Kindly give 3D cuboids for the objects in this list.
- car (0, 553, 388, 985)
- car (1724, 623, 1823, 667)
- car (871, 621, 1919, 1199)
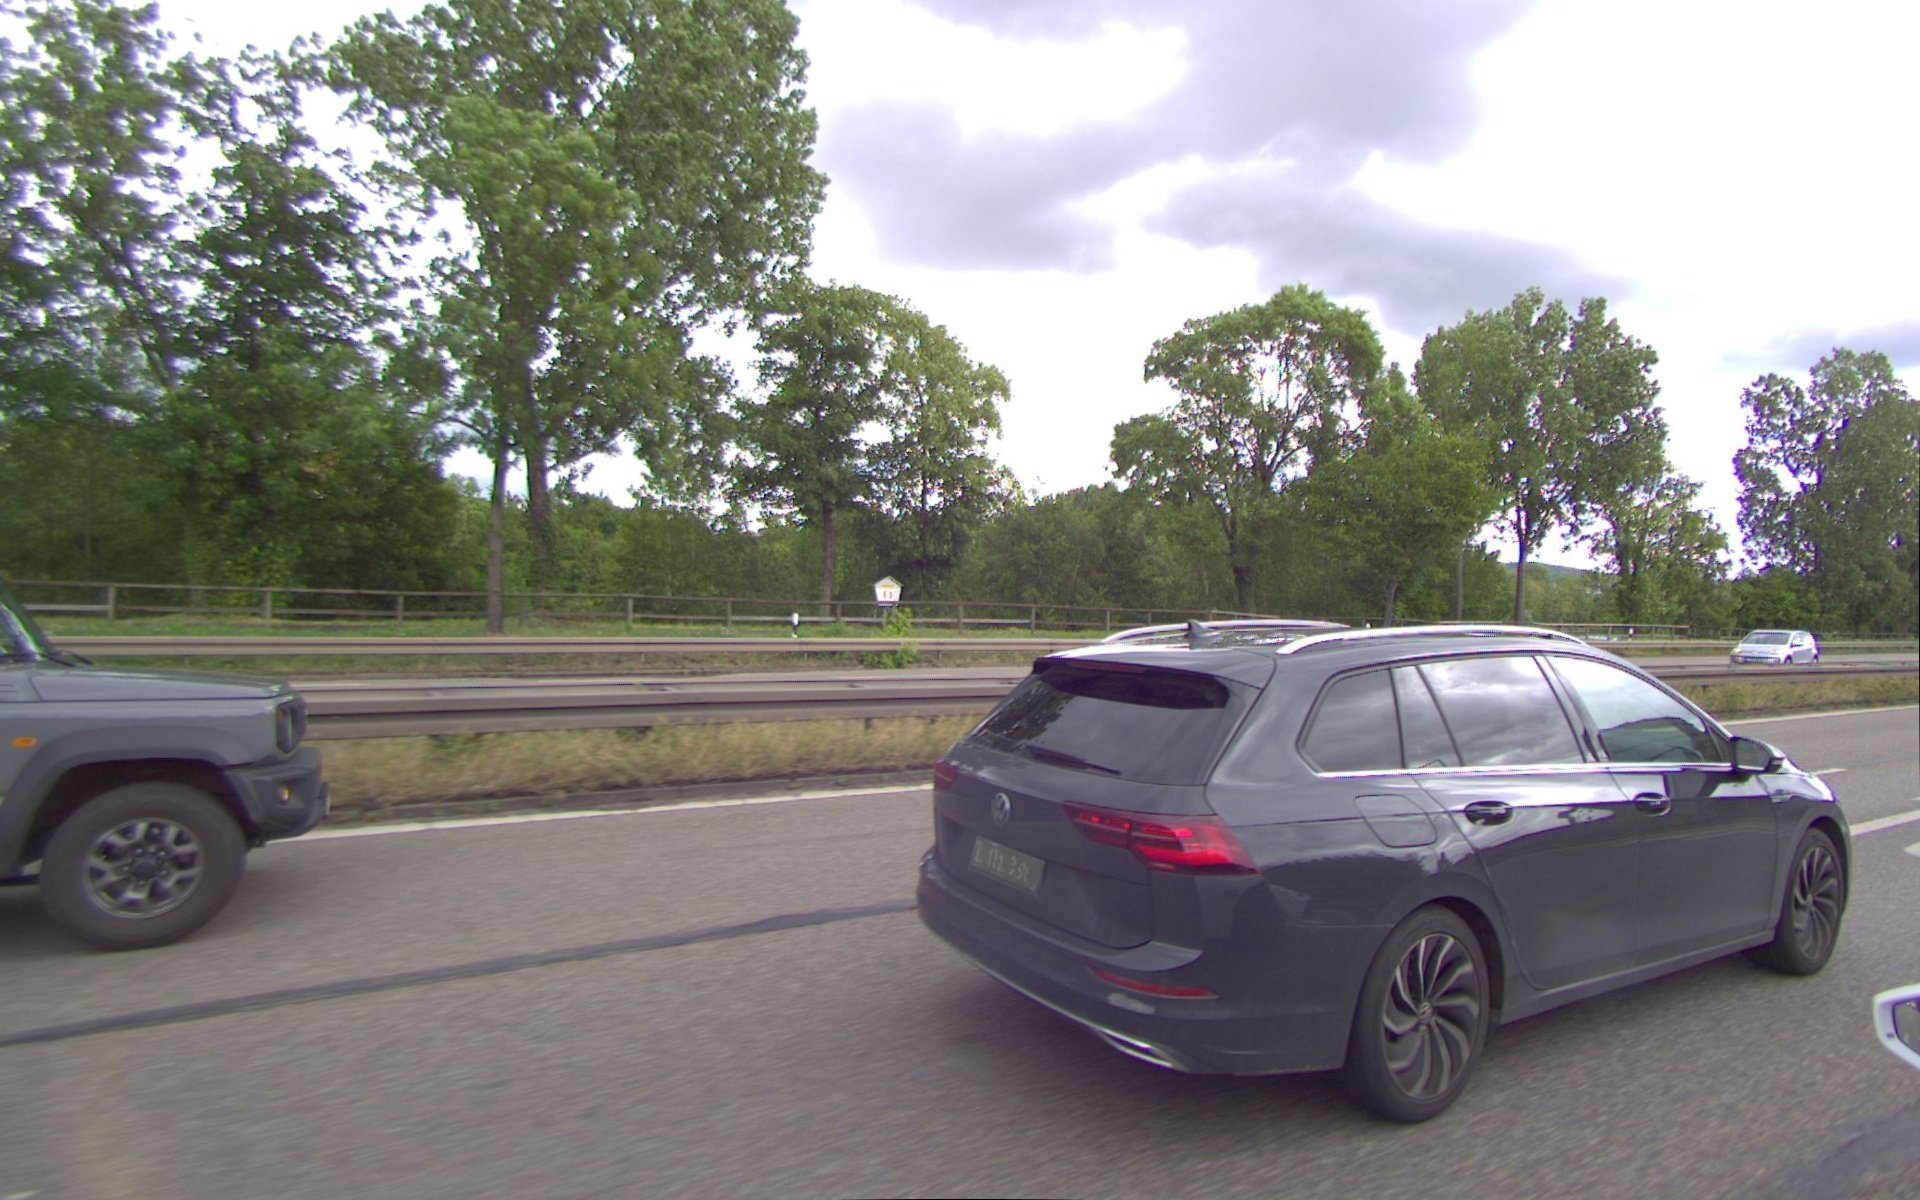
[{"bbox_3d":[-4.787,0.670,4.356,3.955,1.708,1.689,1,-1,-32],"label":"car"},{"bbox_3d":[28.722,1.567,35.442,3.691,1.404,1.605,1,1,-32],"label":"car"},{"bbox_3d":[2.196,0.874,4.452,4.844,1.442,1.835,1,1,-31],"label":"car"}]
